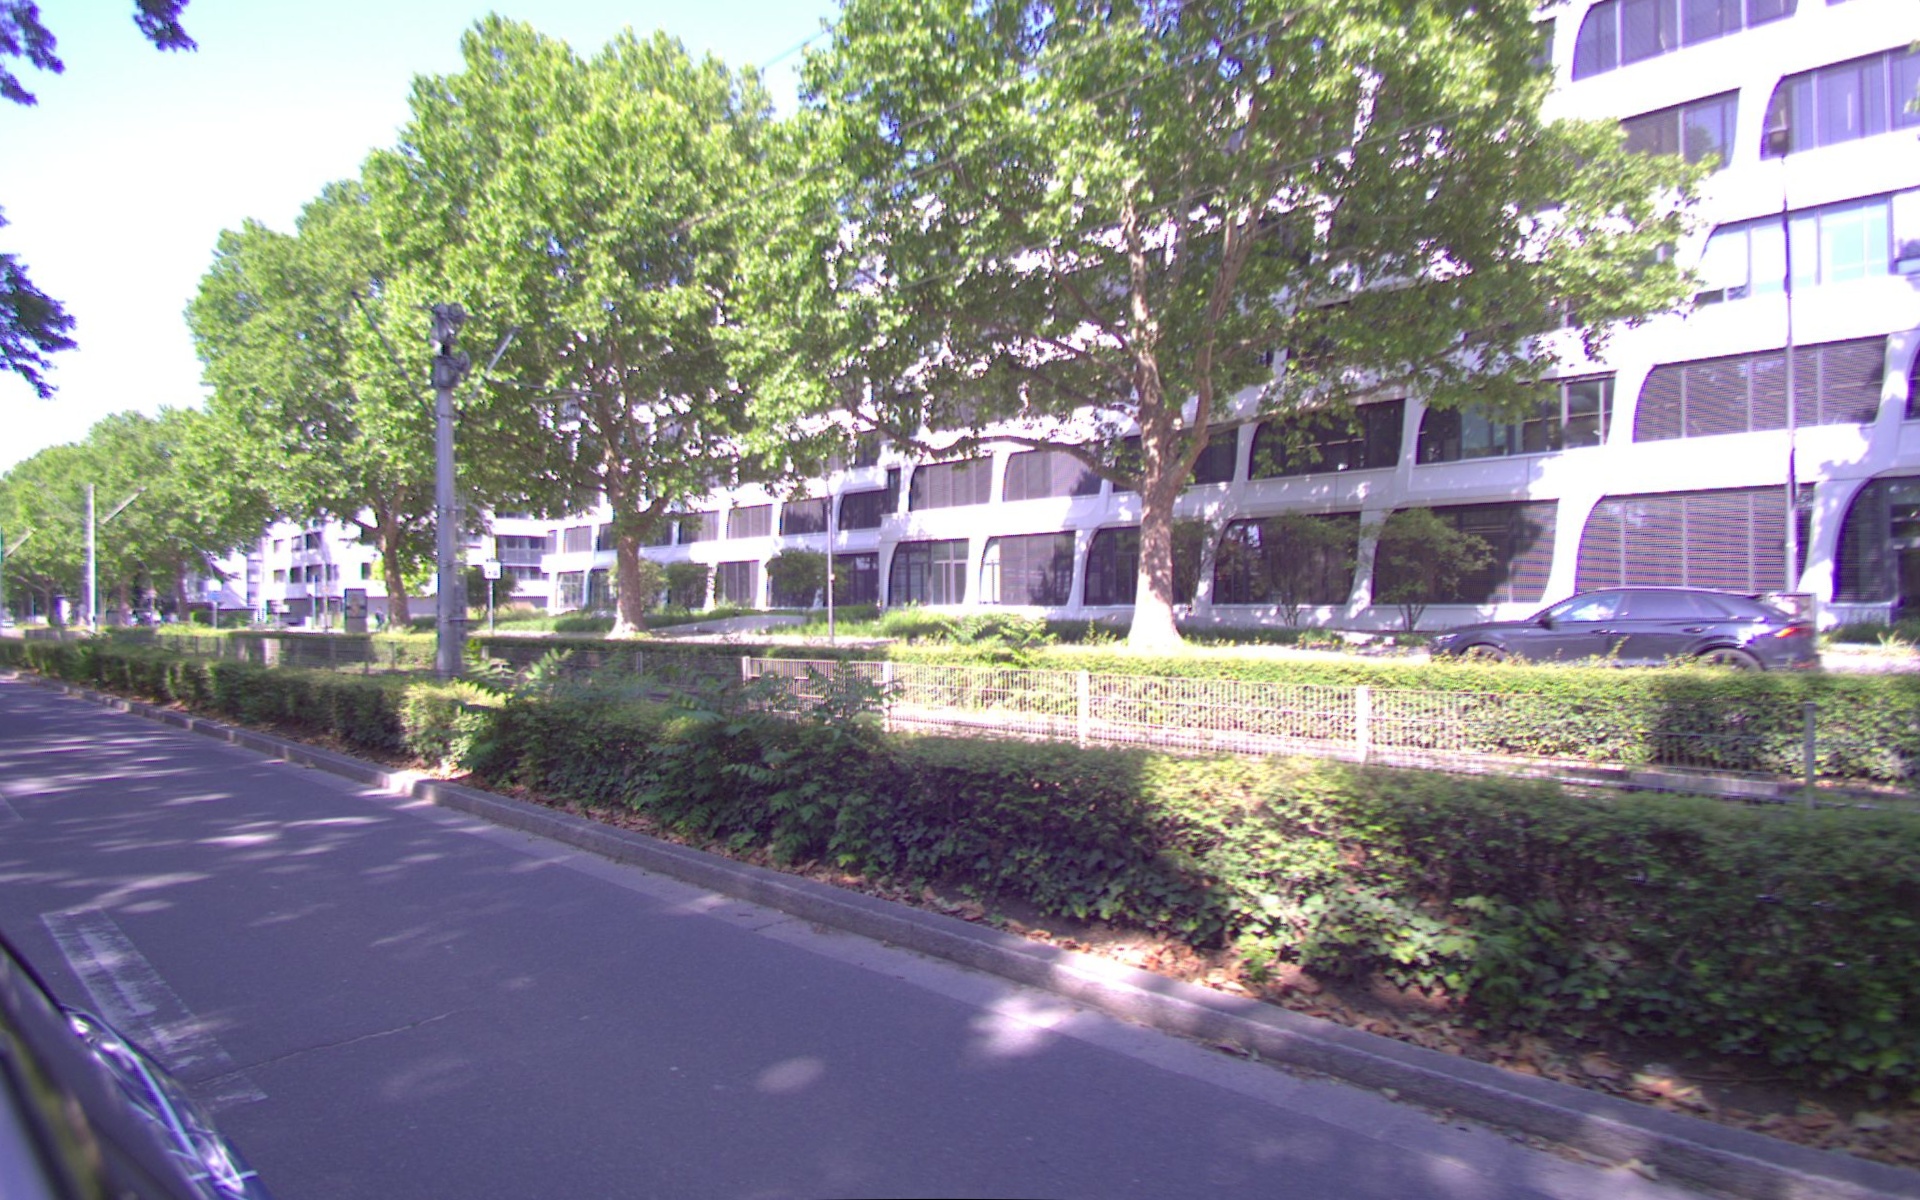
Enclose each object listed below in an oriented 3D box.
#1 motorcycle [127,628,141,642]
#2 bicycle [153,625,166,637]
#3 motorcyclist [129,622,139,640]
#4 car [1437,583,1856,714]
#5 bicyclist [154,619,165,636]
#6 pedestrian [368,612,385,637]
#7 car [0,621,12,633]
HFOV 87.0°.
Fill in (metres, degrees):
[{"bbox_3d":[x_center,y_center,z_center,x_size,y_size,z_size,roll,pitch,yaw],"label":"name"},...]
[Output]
[{"bbox_3d":[-69.549,2.920,85.227,1.999,1.184,0.625,-2,-1,42],"label":"motorcycle"},{"bbox_3d":[-74.803,2.895,94.561,2.030,1.133,0.657,-1,0,42],"label":"bicycle"},{"bbox_3d":[-69.618,2.632,85.293,0.533,1.468,0.574,-2,-1,42],"label":"motorcyclist"},{"bbox_3d":[9.917,0.637,14.918,4.895,1.636,1.810,-1,-1,42],"label":"car"},{"bbox_3d":[-74.807,2.536,94.567,0.641,1.546,0.647,-2,-1,42],"label":"bicyclist"},{"bbox_3d":[-39.273,1.643,68.125,1.014,1.600,0.712,-1,0,42],"label":"pedestrian"},{"bbox_3d":[-126.703,3.615,133.727,4.018,1.581,1.738,-2,0,42],"label":"car"}]
